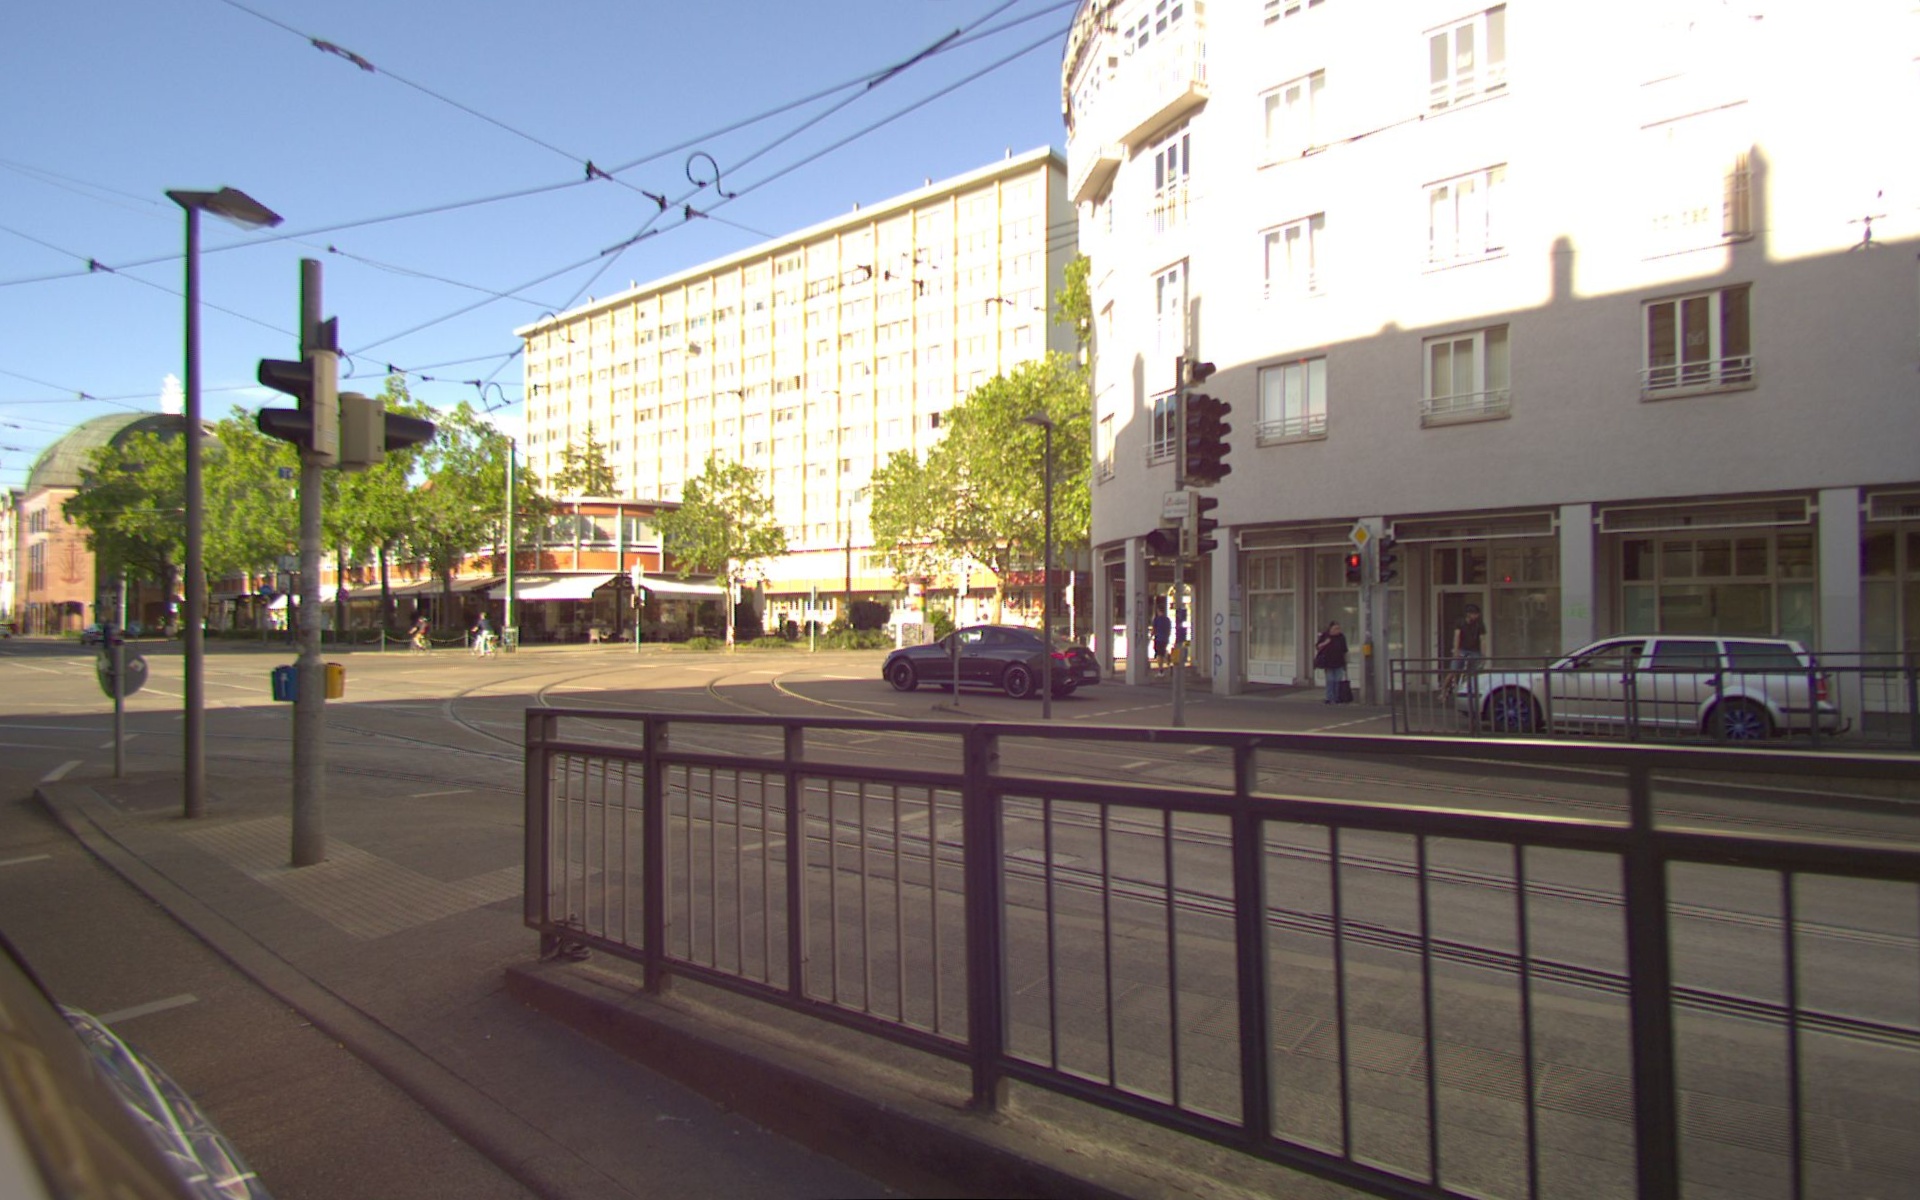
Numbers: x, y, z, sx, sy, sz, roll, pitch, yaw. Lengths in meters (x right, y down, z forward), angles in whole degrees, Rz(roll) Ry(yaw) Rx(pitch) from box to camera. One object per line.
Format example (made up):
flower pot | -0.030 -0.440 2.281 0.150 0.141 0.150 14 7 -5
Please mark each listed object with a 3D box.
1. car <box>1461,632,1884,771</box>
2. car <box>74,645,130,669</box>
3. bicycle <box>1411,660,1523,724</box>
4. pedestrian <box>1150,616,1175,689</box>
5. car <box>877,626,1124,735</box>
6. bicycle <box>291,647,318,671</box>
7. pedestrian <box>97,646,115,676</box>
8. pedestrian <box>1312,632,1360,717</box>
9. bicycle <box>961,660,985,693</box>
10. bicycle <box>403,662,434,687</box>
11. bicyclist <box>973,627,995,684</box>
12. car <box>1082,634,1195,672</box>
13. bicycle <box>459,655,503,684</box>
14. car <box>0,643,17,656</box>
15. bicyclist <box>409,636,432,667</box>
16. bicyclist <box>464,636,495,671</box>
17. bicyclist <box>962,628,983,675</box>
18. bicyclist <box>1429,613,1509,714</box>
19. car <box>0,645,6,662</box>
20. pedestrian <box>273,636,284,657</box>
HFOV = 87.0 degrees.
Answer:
car | 9.315 1.214 13.553 4.401 1.526 1.711 -1 -2 40
car | -56.151 3.702 66.236 4.645 1.462 1.974 -1 -3 39
bicycle | 8.856 1.584 17.758 0.666 0.987 1.767 1 -2 -22
pedestrian | 5.203 1.349 26.087 0.455 1.847 0.745 -1 -2 1
car | 0.740 1.501 20.384 4.605 1.925 2.204 -1 -2 40
bicycle | -34.136 3.067 52.684 2.233 1.195 0.492 -1 -3 39
pedestrian | -43.927 3.139 52.058 0.858 1.529 0.494 -2 -4 41
pedestrian | 6.950 1.366 18.705 0.675 1.546 0.442 -1 -3 4
bicycle | 0.433 2.512 33.333 0.588 0.980 2.008 1 -1 6
bicycle | -23.520 3.220 43.962 1.817 0.980 0.587 0 -2 42
bicyclist | 0.689 1.591 29.057 0.582 1.597 0.896 1 -1 0
car | 7.115 2.119 40.361 4.082 1.414 1.787 -3 -3 27
bicycle | -18.156 2.618 38.343 1.849 0.980 0.589 0 -2 33
car | -114.053 5.863 120.798 3.468 1.465 1.731 -1 -2 39
bicyclist | -23.391 2.223 43.881 0.926 1.295 0.582 0 -2 41
bicyclist | -18.124 2.003 38.176 0.990 1.295 0.583 0 -2 35
bicyclist | 0.424 1.677 33.323 0.583 1.499 0.926 1 -1 6
bicyclist | 8.898 1.089 17.717 0.711 1.708 1.032 1 -2 -21
car | -90.021 4.954 93.678 4.497 1.462 1.974 -1 -3 39
pedestrian | -57.191 3.884 84.908 0.706 1.764 0.566 -1 -3 42
